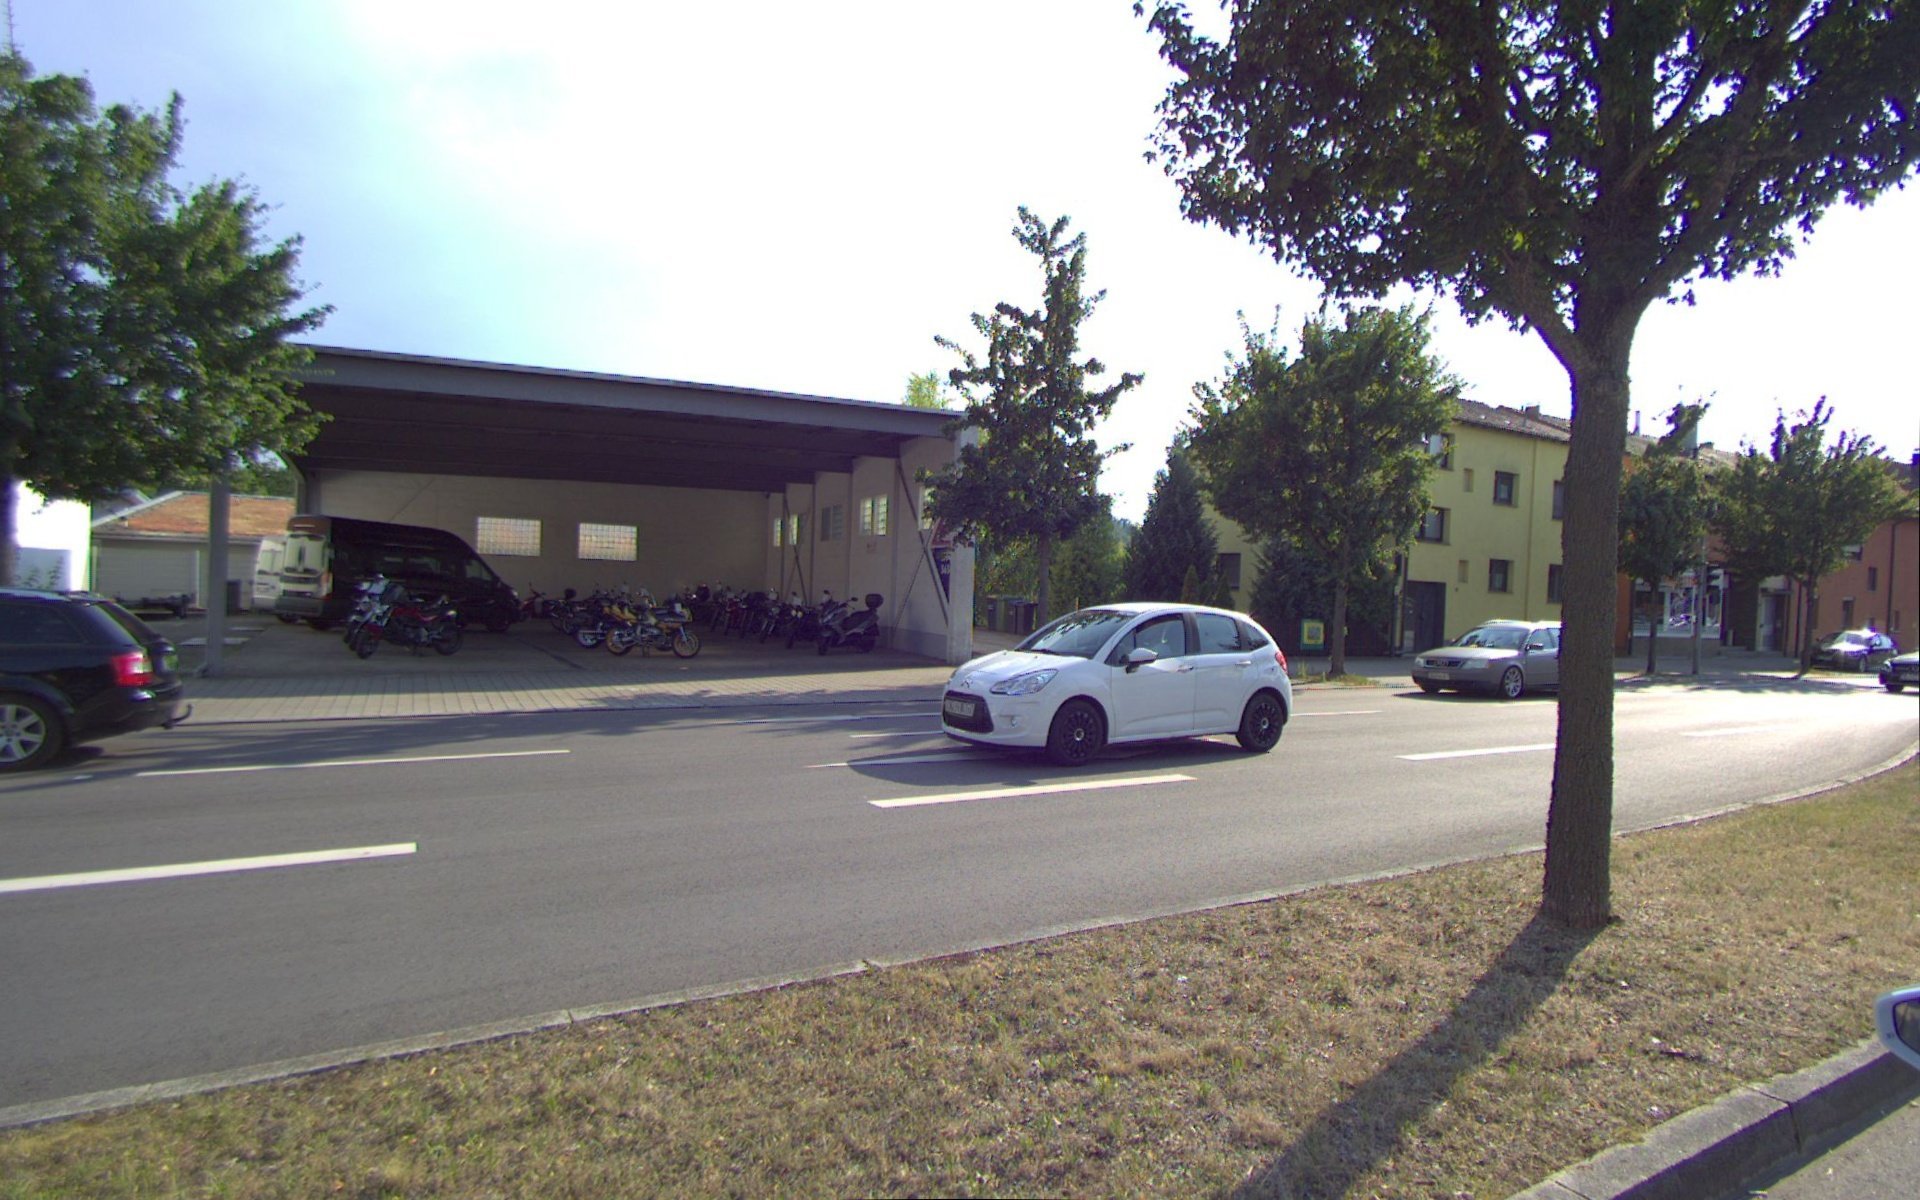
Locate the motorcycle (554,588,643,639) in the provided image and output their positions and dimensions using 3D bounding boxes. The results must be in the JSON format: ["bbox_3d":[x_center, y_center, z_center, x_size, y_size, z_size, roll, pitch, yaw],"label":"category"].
[{"bbox_3d":[-9.669,0.360,26.890,2.112,1.275,0.647,2,0,0],"label":"motorcycle"}]

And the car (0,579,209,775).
[{"bbox_3d":[-8.774,0.562,8.036,4.195,1.517,1.798,2,0,-30],"label":"car"}]

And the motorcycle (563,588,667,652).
[{"bbox_3d":[-7.689,0.443,22.430,2.112,1.347,0.563,2,0,0],"label":"motorcycle"}]

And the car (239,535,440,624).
[{"bbox_3d":[-17.178,-0.529,28.090,2.158,2.279,4.386,2,0,19],"label":"car"}]

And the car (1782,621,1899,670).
[{"bbox_3d":[32.034,1.645,36.536,3.950,1.573,1.836,2,2,-28],"label":"car"}]

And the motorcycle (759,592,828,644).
[{"bbox_3d":[-4.411,0.476,26.713,0.612,1.325,2.086,2,0,30],"label":"motorcycle"}]

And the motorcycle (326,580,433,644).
[{"bbox_3d":[-12.563,0.257,21.805,0.637,1.329,2.007,2,0,23],"label":"motorcycle"}]

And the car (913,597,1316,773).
[{"bbox_3d":[1.663,0.786,10.518,3.910,1.517,1.792,2,0,-31],"label":"car"}]

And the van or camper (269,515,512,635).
[{"bbox_3d":[-14.224,-0.555,25.438,1.965,2.716,5.027,2,0,31],"label":"van or camper"}]

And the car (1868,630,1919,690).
[{"bbox_3d":[24.325,1.473,24.683,4.427,1.367,1.771,2,0,-31],"label":"car"}]

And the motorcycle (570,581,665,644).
[{"bbox_3d":[-8.393,0.312,24.652,2.112,1.468,0.594,2,0,0],"label":"motorcycle"}]

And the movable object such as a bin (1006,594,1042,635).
[{"bbox_3d":[1.813,0.414,28.557,0.688,1.101,0.727,1,3,-30],"label":"movable object such as a bin"}]

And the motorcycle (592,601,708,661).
[{"bbox_3d":[-6.270,0.612,20.375,2.112,1.139,0.631,2,0,0],"label":"motorcycle"}]

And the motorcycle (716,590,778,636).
[{"bbox_3d":[-6.320,0.379,29.928,0.553,1.325,2.086,2,0,30],"label":"motorcycle"}]

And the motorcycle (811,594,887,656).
[{"bbox_3d":[-2.469,0.543,22.632,0.553,1.325,2.112,2,0,30],"label":"motorcycle"}]

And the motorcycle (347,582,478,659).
[{"bbox_3d":[-10.044,0.373,18.502,0.659,1.329,2.000,2,0,36],"label":"motorcycle"}]

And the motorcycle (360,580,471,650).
[{"bbox_3d":[-11.042,0.297,20.434,0.637,1.329,2.007,2,0,23],"label":"motorcycle"}]

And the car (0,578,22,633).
[{"bbox_3d":[-25.517,0.129,25.171,1.862,1.403,4.054,2,0,-27],"label":"car"}]

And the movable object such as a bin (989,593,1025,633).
[{"bbox_3d":[1.369,0.371,29.326,0.712,1.101,0.727,1,3,-30],"label":"movable object such as a bin"}]

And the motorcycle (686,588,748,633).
[{"bbox_3d":[-7.463,0.313,30.909,0.553,1.325,2.086,2,0,30],"label":"motorcycle"}]

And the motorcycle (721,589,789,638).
[{"bbox_3d":[-5.678,0.374,27.948,0.573,1.325,2.086,2,0,30],"label":"motorcycle"}]

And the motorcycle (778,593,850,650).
[{"bbox_3d":[-3.529,0.515,24.511,0.553,1.325,2.086,2,0,30],"label":"motorcycle"}]

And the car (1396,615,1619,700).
[{"bbox_3d":[10.881,1.095,19.874,4.656,1.482,1.678,2,0,-30],"label":"car"}]

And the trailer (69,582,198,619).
[{"bbox_3d":[-23.309,0.009,28.493,2.425,0.836,3.163,2,2,-33],"label":"trailer"}]

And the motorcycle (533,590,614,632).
[{"bbox_3d":[-11.187,0.317,29.121,2.112,1.138,0.563,2,0,0],"label":"motorcycle"}]
